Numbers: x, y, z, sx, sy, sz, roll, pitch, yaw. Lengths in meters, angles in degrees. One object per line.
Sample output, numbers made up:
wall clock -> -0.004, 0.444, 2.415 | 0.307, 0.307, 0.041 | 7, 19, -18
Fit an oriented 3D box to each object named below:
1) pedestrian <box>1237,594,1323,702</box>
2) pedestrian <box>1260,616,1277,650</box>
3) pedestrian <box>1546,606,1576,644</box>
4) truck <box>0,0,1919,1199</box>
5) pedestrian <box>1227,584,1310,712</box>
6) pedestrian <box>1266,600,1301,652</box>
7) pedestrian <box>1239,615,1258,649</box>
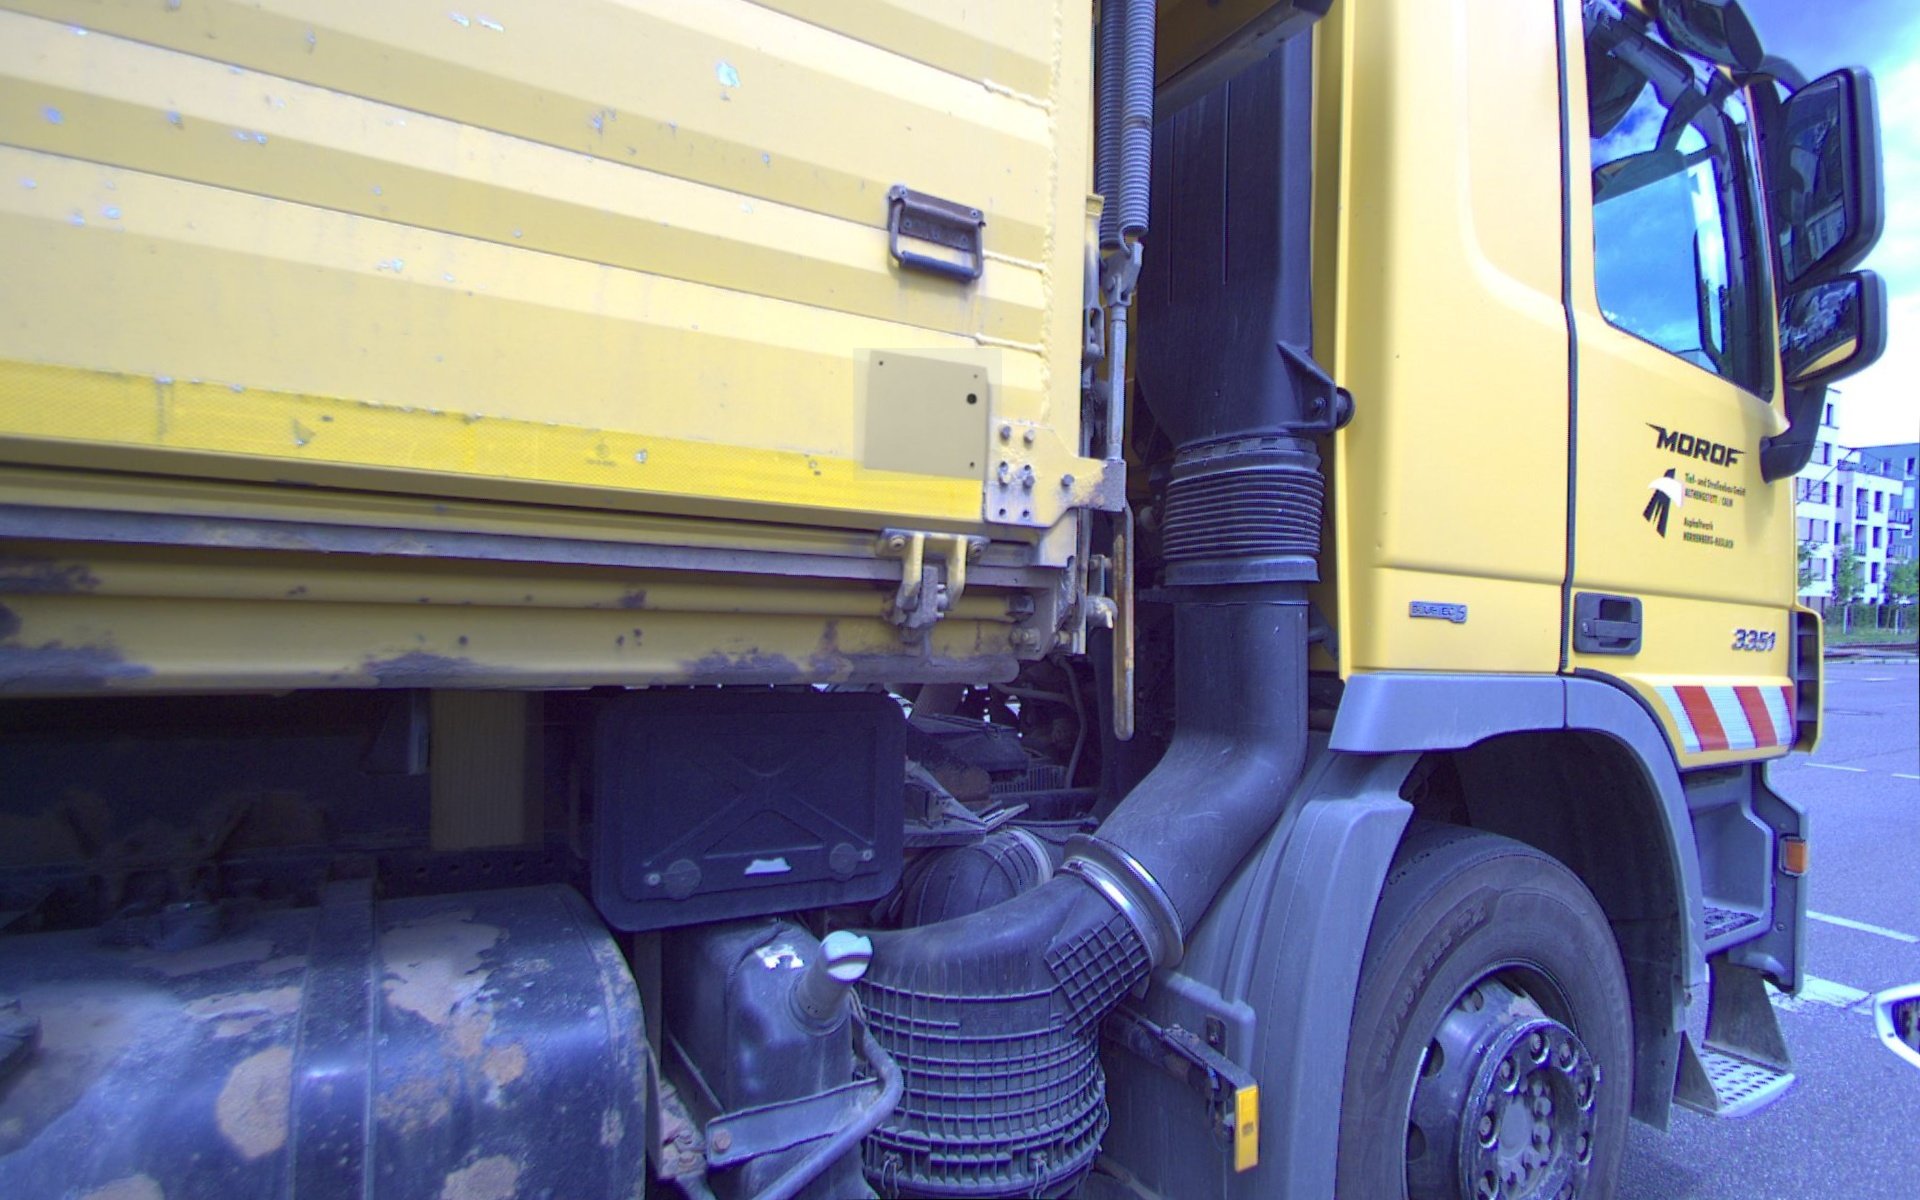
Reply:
pedestrian -> 4.969, 0.723, 15.617 | 0.897, 1.618, 0.888 | 1, 0, -30
pedestrian -> 10.509, 1.122, 34.211 | 0.434, 1.143, 0.373 | 2, 0, 29
pedestrian -> 24.395, 1.005, 40.795 | 0.628, 1.536, 0.827 | 1, 0, -30
truck -> -1.658, -0.248, 1.752 | 7.916, 3.439, 3.033 | 1, 0, -32
pedestrian -> 4.412, 0.664, 14.400 | 0.818, 1.766, 0.778 | 1, 0, -30
pedestrian -> 10.557, 0.846, 32.773 | 1.048, 1.670, 0.708 | 1, 0, 18
pedestrian -> 9.898, 1.099, 34.469 | 0.496, 1.139, 0.421 | 2, 0, 29
